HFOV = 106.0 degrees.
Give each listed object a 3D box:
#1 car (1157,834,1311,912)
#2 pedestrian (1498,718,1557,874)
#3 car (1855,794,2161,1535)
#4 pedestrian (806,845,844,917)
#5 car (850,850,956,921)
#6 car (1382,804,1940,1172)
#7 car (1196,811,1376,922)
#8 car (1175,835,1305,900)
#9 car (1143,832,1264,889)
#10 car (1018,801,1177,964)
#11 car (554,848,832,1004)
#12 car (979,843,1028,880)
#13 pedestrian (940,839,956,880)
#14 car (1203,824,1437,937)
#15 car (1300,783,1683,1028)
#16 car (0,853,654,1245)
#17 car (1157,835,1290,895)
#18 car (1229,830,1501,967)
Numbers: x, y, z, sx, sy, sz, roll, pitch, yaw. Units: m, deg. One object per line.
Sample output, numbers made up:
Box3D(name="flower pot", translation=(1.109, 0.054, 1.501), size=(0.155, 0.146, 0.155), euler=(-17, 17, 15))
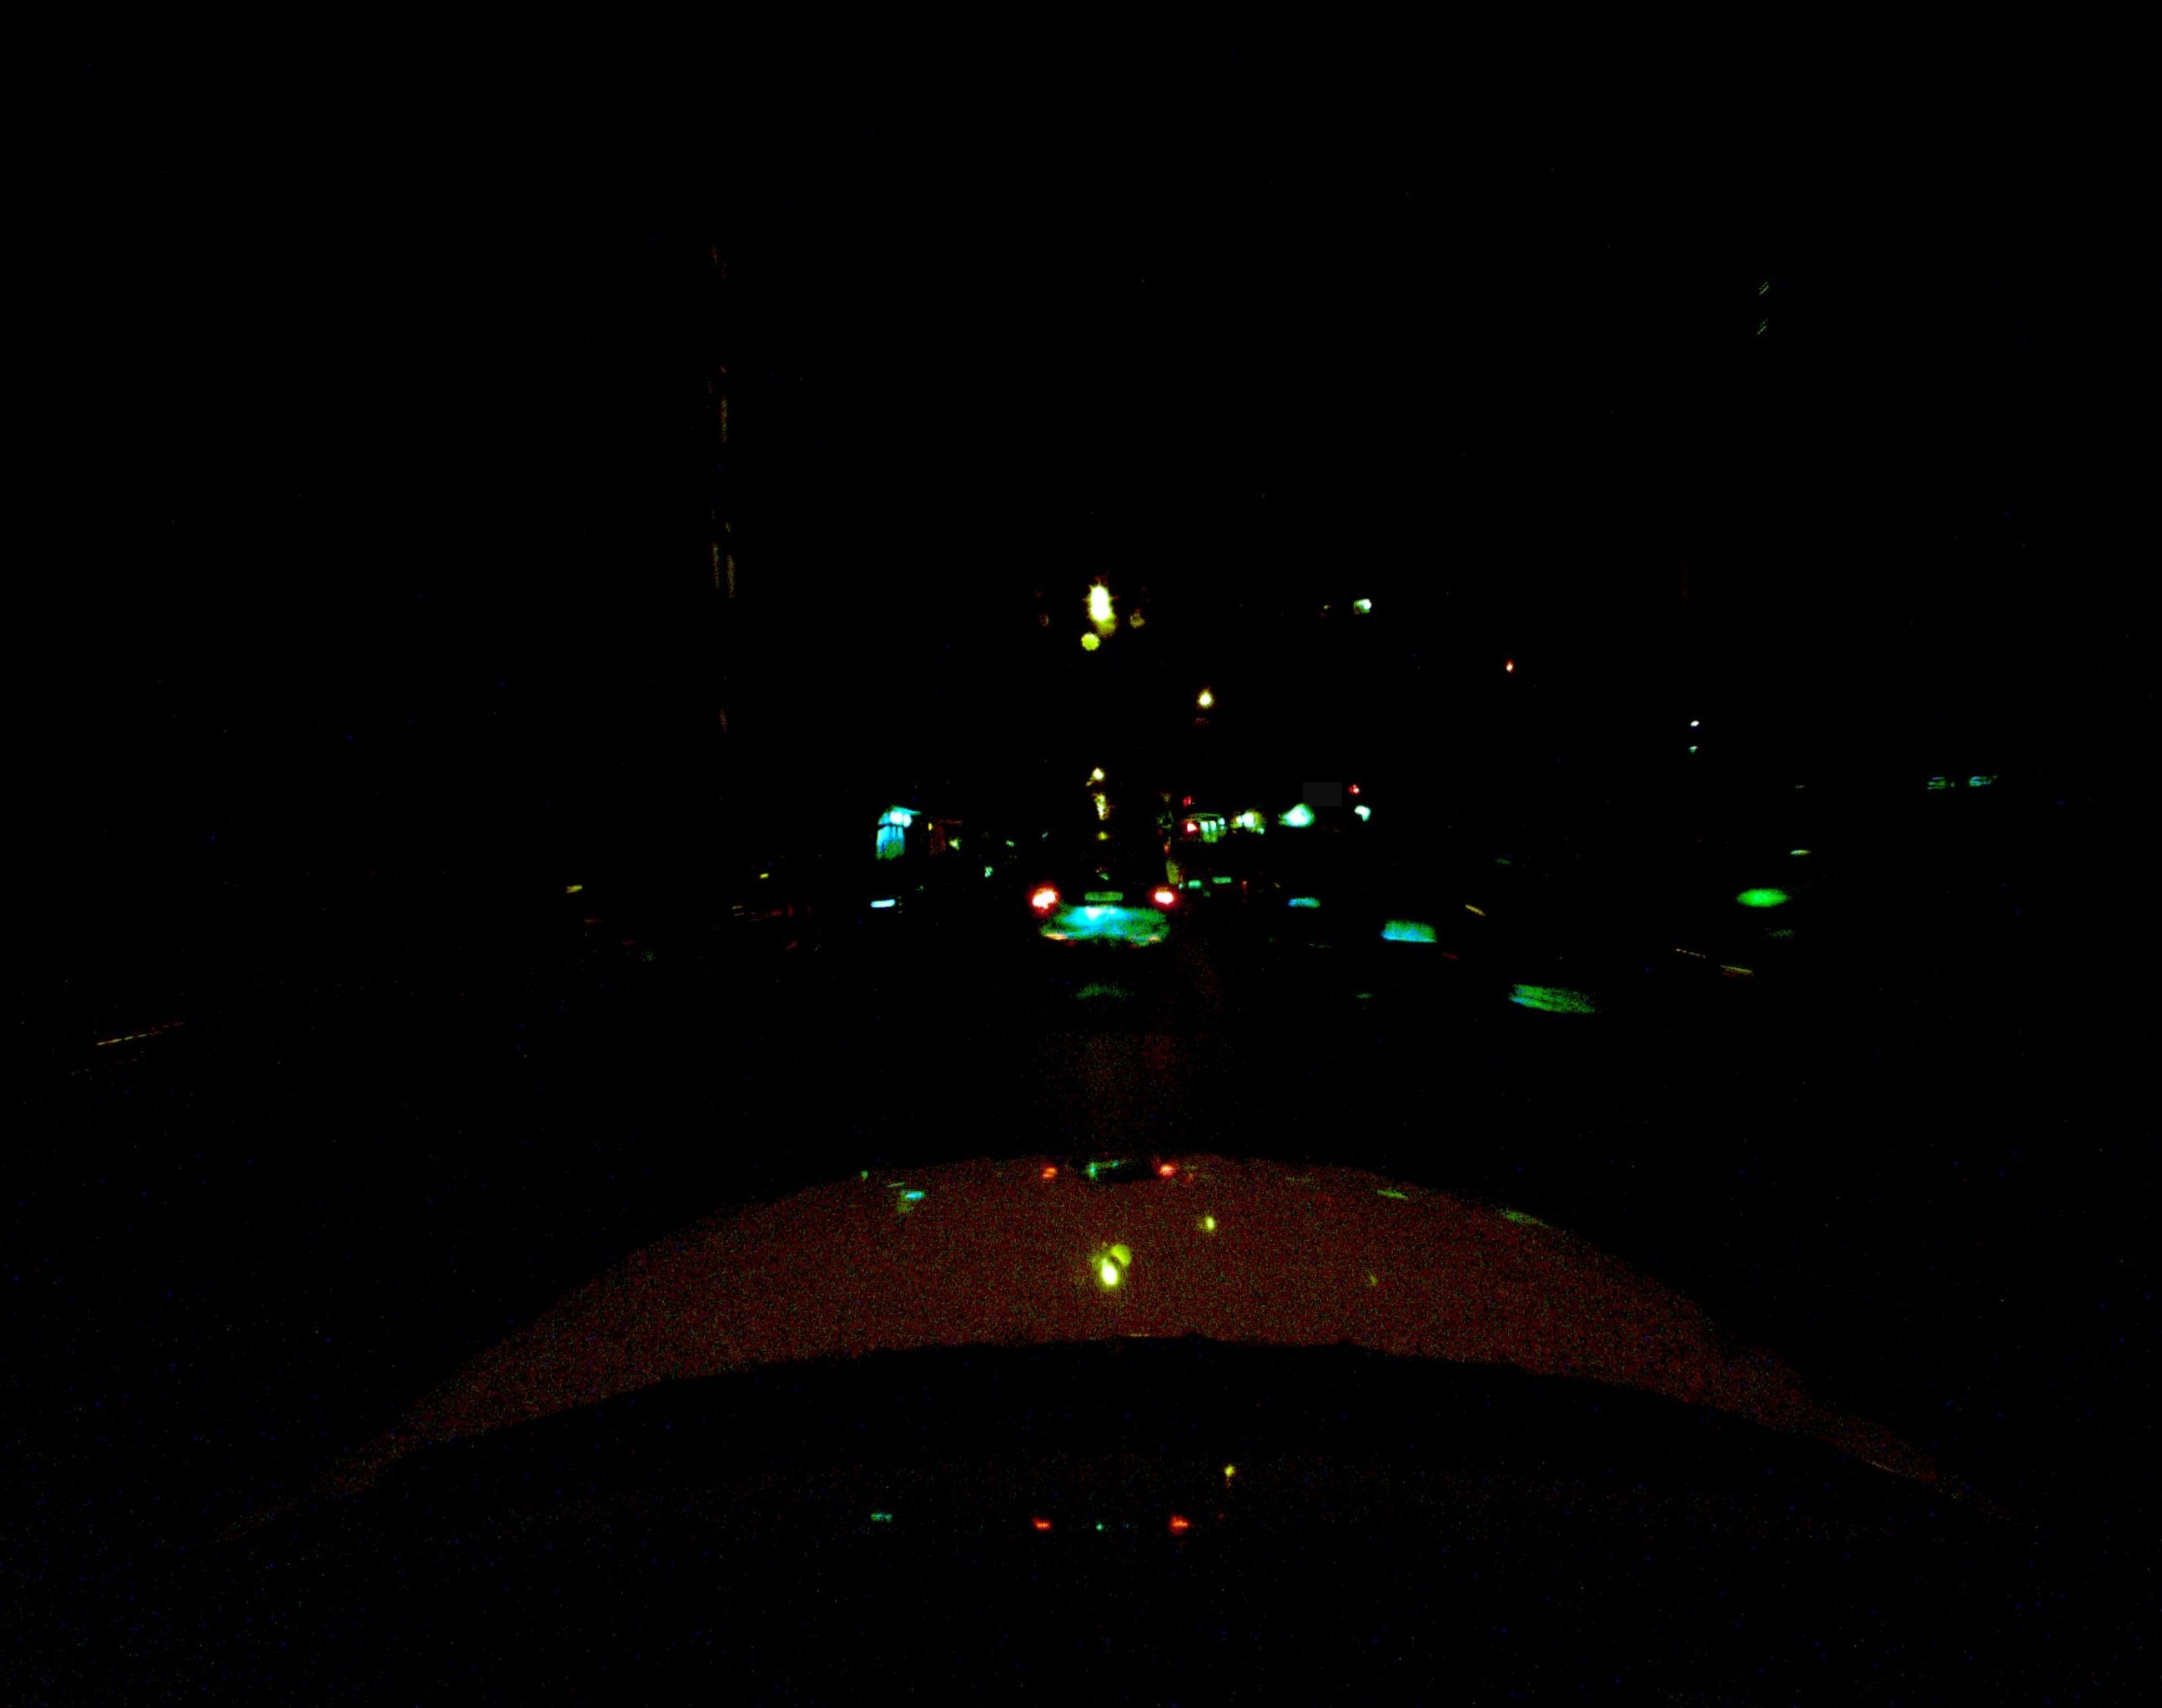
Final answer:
Box3D(name="car", translation=(3.783, 0.432, 19.925), size=(3.581, 1.590, 1.588), euler=(-4, 0, -35))
Box3D(name="pedestrian", translation=(10.365, -1.323, 18.918), size=(0.888, 3.527, 0.791), euler=(-1, 0, 1))
Box3D(name="car", translation=(3.867, 0.555, 2.326), size=(3.526, 1.494, 1.436), euler=(-4, 0, -31))
Box3D(name="pedestrian", translation=(-6.216, 0.640, 19.790), size=(0.698, 1.704, 0.539), euler=(-1, 0, 1))
Box3D(name="car", translation=(-4.276, 0.686, 20.196), size=(1.808, 1.557, 4.073), euler=(-1, 0, -2))
Box3D(name="car", translation=(3.800, 0.536, 5.187), size=(3.580, 1.484, 1.708), euler=(-4, 0, -34))
Box3D(name="car", translation=(4.321, 0.201, 16.990), size=(3.581, 1.990, 1.588), euler=(-4, 0, -35))
Box3D(name="car", translation=(4.622, 0.346, 23.553), size=(3.585, 1.733, 1.671), euler=(-1, 0, -35))
Box3D(name="car", translation=(4.337, 0.193, 28.681), size=(4.017, 1.761, 1.860), euler=(-3, 1, -35))
Box3D(name="car", translation=(0.271, 0.380, 12.470), size=(1.986, 2.050, 4.001), euler=(-1, 0, 2))
Box3D(name="car", translation=(-4.582, 0.722, 10.350), size=(1.651, 1.557, 4.073), euler=(-1, 0, -2))
Box3D(name="car", translation=(-3.732, 0.326, 39.715), size=(1.877, 1.685, 4.002), euler=(-1, 0, 2))
Box3D(name="pedestrian", translation=(-6.136, 0.251, 37.626), size=(0.659, 1.903, 0.539), euler=(-1, 0, -3))
Box3D(name="car", translation=(4.357, 0.395, 14.664), size=(4.017, 1.587, 1.860), euler=(-5, 1, -35))
Box3D(name="car", translation=(4.123, 0.331, 7.996), size=(3.766, 1.840, 1.707), euler=(-4, 0, -35))
Box3D(name="car", translation=(-4.521, 0.757, 5.042), size=(1.581, 1.482, 3.796), euler=(-1, 0, 3))
Box3D(name="car", translation=(4.555, 0.304, 25.884), size=(4.017, 1.761, 1.860), euler=(-1, 0, -35))
Box3D(name="car", translation=(3.959, 0.519, 11.208), size=(3.580, 1.453, 1.655), euler=(-4, 0, -34))
